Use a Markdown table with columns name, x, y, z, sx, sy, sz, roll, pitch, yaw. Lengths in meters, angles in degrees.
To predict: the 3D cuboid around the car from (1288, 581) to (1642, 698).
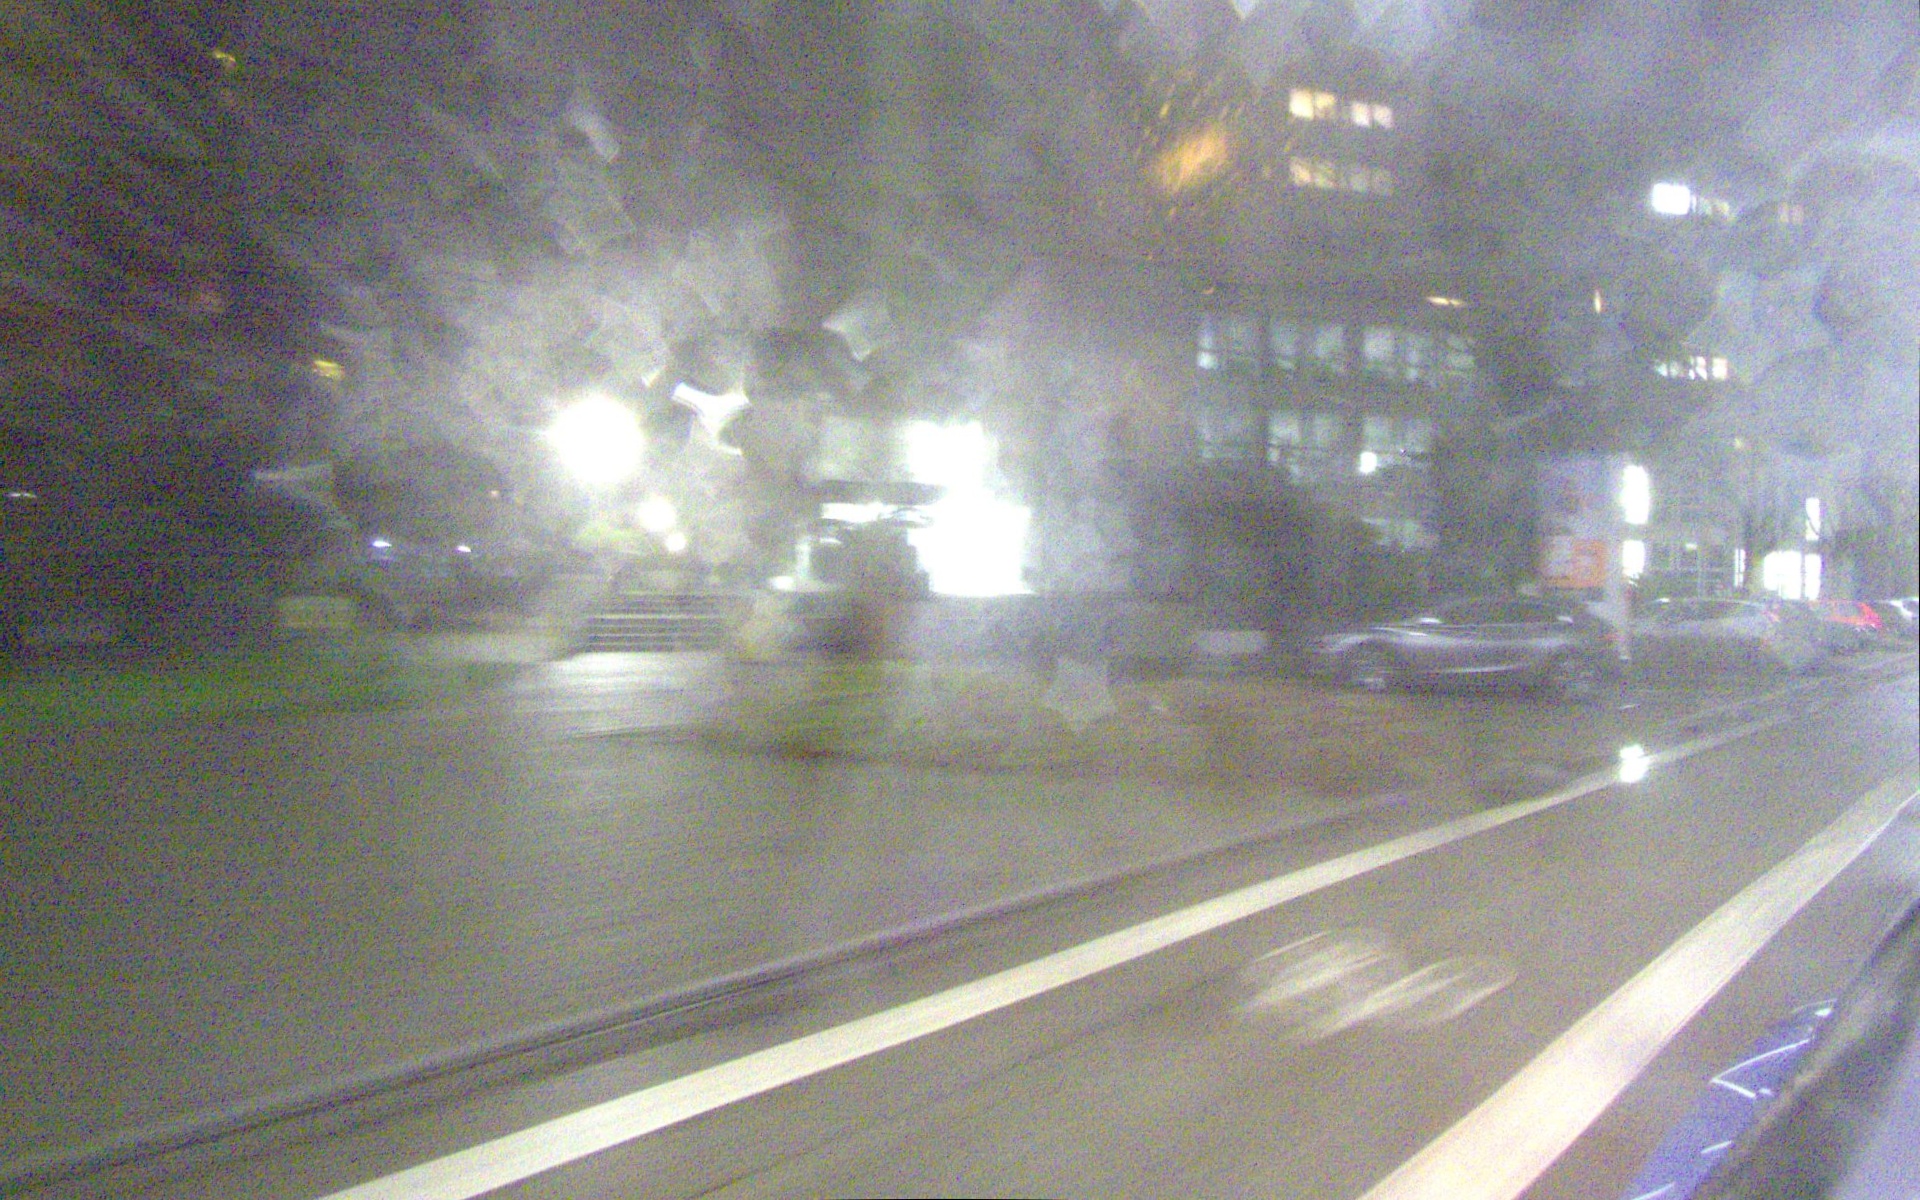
| name | x | y | z | sx | sy | sz | roll | pitch | yaw |
| --- | --- | --- | --- | --- | --- | --- | --- | --- | --- |
| car | 7.154 | 0.503 | 14.767 | 4.274 | 1.486 | 1.676 | 1 | 1 | 12 |

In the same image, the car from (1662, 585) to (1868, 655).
| name | x | y | z | sx | sy | sz | roll | pitch | yaw |
| --- | --- | --- | --- | --- | --- | --- | --- | --- | --- |
| car | 19.654 | 0.460 | 24.875 | 3.518 | 1.490 | 1.648 | 2 | 1 | 12 |

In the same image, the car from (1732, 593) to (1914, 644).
| name | x | y | z | sx | sy | sz | roll | pitch | yaw |
| --- | --- | --- | --- | --- | --- | --- | --- | --- | --- |
| car | 26.505 | 0.554 | 31.180 | 4.108 | 1.501 | 1.662 | 1 | -1 | 2 |

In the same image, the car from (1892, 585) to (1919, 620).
| name | x | y | z | sx | sy | sz | roll | pitch | yaw |
| --- | --- | --- | --- | --- | --- | --- | --- | --- | --- |
| car | 50.887 | 0.134 | 52.120 | 3.898 | 1.793 | 1.664 | 1 | 1 | 13 |

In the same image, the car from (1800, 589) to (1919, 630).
| name | x | y | z | sx | sy | sz | roll | pitch | yaw |
| --- | --- | --- | --- | --- | --- | --- | --- | --- | --- |
| car | 35.661 | 0.365 | 39.863 | 3.602 | 1.546 | 1.715 | 1 | 1 | 4 |

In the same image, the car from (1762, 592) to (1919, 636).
| name | x | y | z | sx | sy | sz | roll | pitch | yaw |
| --- | --- | --- | --- | --- | --- | --- | --- | --- | --- |
| car | 30.738 | 0.462 | 35.245 | 4.091 | 1.463 | 1.652 | 0 | 0 | 7 |

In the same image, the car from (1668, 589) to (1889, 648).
| name | x | y | z | sx | sy | sz | roll | pitch | yaw |
| --- | --- | --- | --- | --- | --- | --- | --- | --- | --- |
| car | 21.607 | 0.451 | 26.869 | 4.185 | 1.435 | 1.781 | 1 | 1 | 9 |

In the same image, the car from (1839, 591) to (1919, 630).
| name | x | y | z | sx | sy | sz | roll | pitch | yaw |
| --- | --- | --- | --- | --- | --- | --- | --- | --- | --- |
| car | 39.249 | 0.441 | 41.859 | 3.946 | 1.546 | 1.797 | 1 | 1 | 8 |

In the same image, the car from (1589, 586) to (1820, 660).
| name | x | y | z | sx | sy | sz | roll | pitch | yaw |
| --- | --- | --- | --- | --- | --- | --- | --- | --- | --- |
| car | 16.657 | 0.487 | 22.800 | 3.835 | 1.531 | 1.711 | 1 | 1 | 3 |
